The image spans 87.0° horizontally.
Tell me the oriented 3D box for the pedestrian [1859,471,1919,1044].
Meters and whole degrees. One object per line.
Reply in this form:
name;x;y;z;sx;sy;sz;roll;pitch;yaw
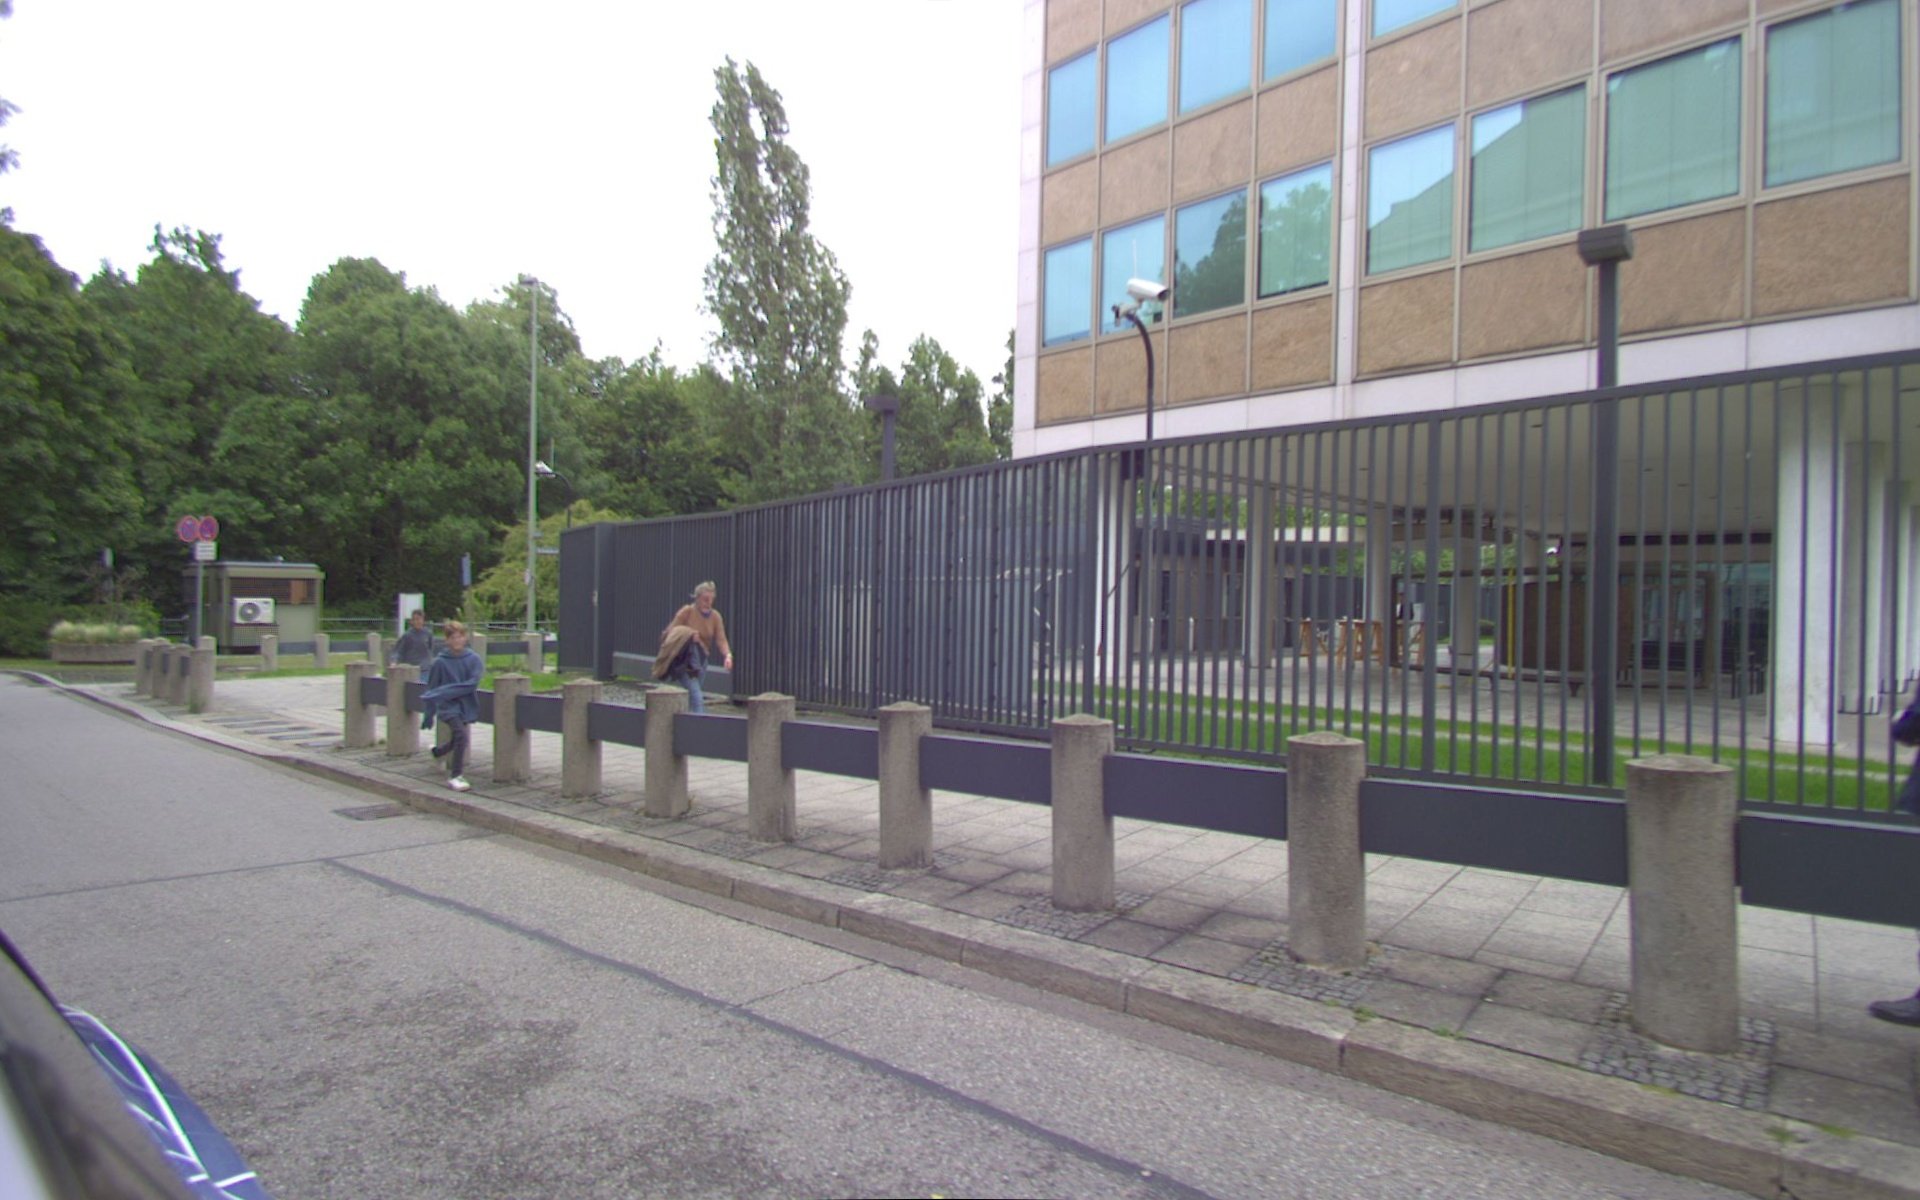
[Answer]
pedestrian;3.390;0.492;3.217;0.766;1.782;0.617;0;-1;40

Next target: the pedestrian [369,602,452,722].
pedestrian;-7.495;0.811;13.793;0.768;1.551;0.934;-2;1;-42

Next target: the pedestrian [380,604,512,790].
pedestrian;-4.431;0.782;8.717;1.078;1.478;0.632;0;1;41

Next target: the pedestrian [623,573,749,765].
pedestrian;-2.643;0.615;9.752;0.814;1.736;0.906;-2;1;-44
